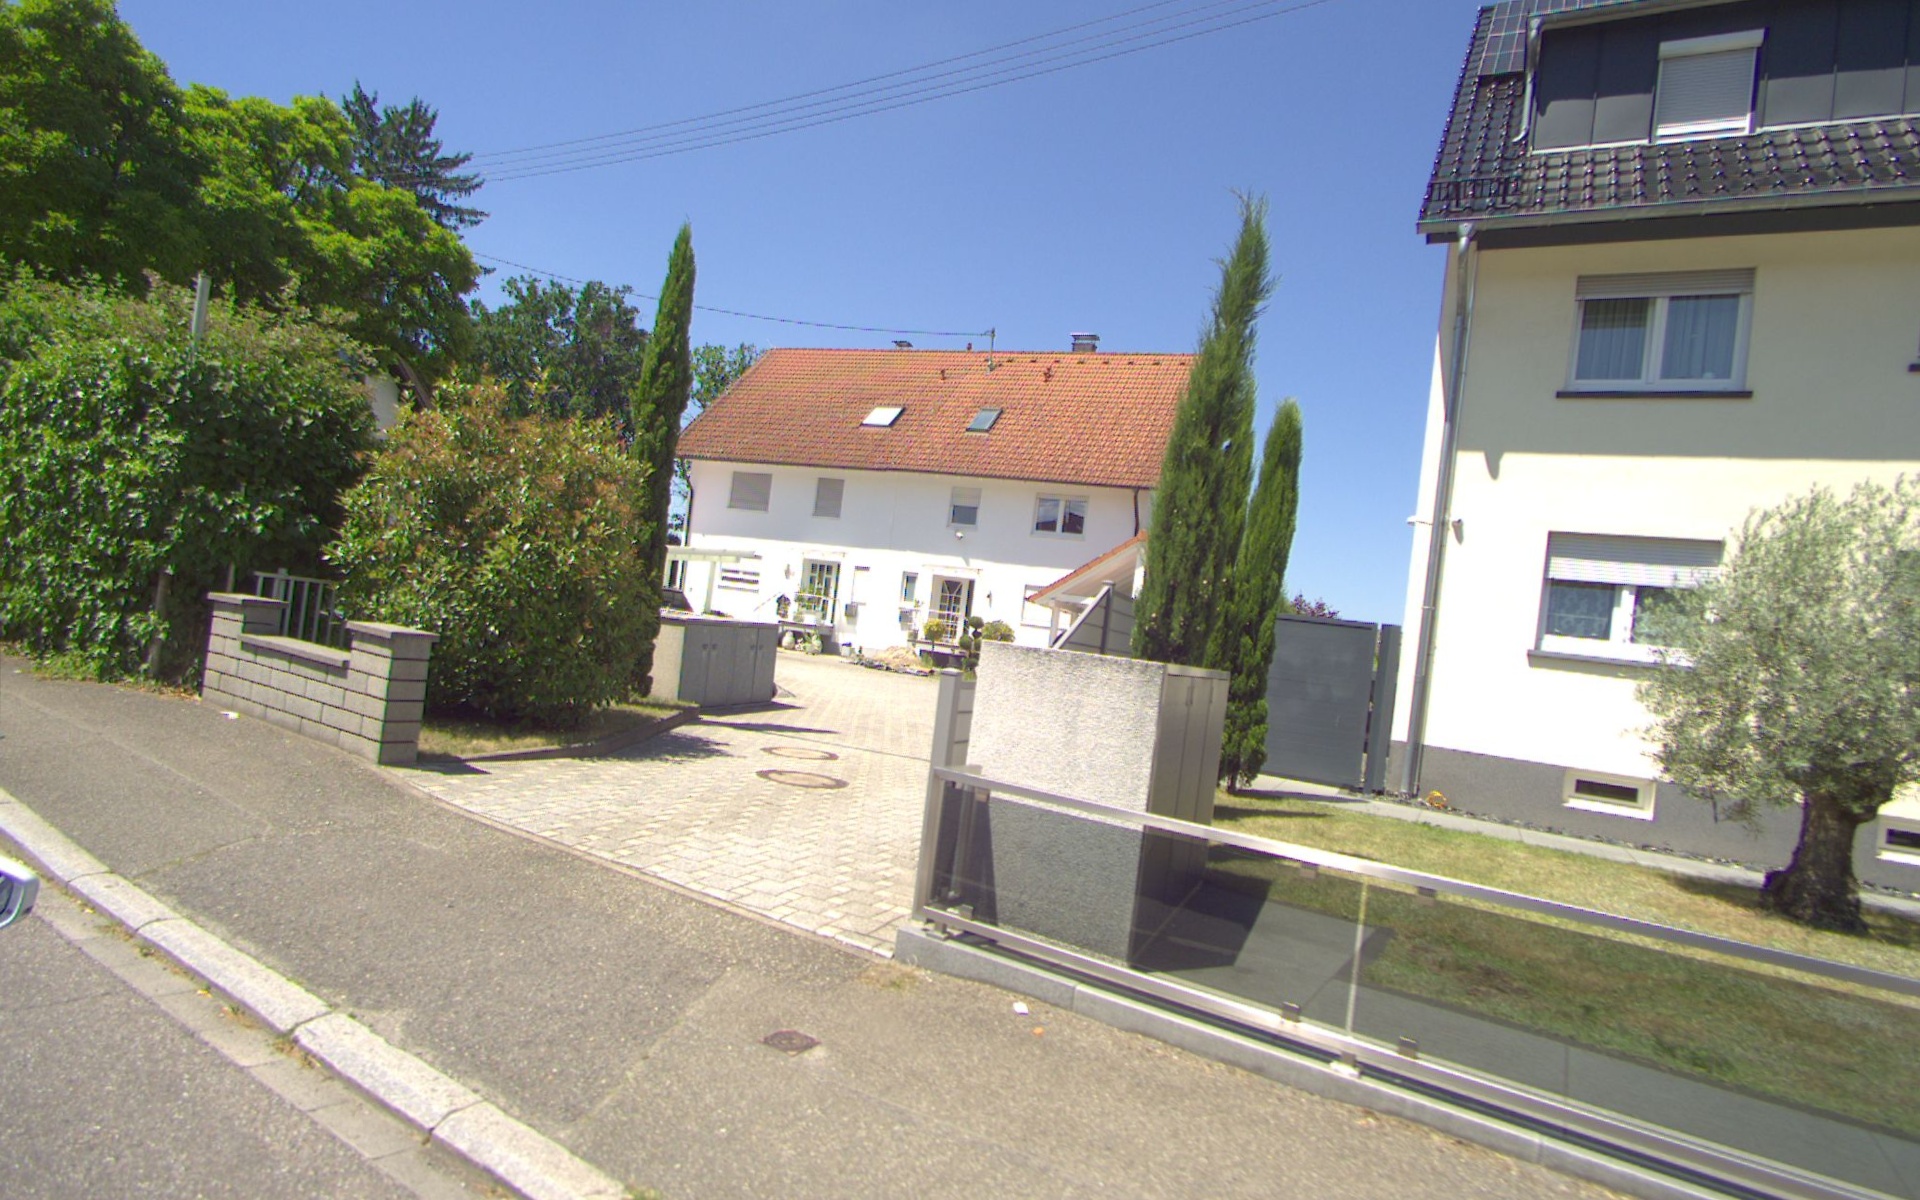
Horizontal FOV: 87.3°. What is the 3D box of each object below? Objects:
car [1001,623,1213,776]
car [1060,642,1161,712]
[{"bbox_3d":[2.190,1.314,13.914,1.768,1.587,4.000,7,-1,23],"label":"car"},{"bbox_3d":[3.744,1.876,24.564,1.463,1.405,3.469,6,-1,24],"label":"car"}]
